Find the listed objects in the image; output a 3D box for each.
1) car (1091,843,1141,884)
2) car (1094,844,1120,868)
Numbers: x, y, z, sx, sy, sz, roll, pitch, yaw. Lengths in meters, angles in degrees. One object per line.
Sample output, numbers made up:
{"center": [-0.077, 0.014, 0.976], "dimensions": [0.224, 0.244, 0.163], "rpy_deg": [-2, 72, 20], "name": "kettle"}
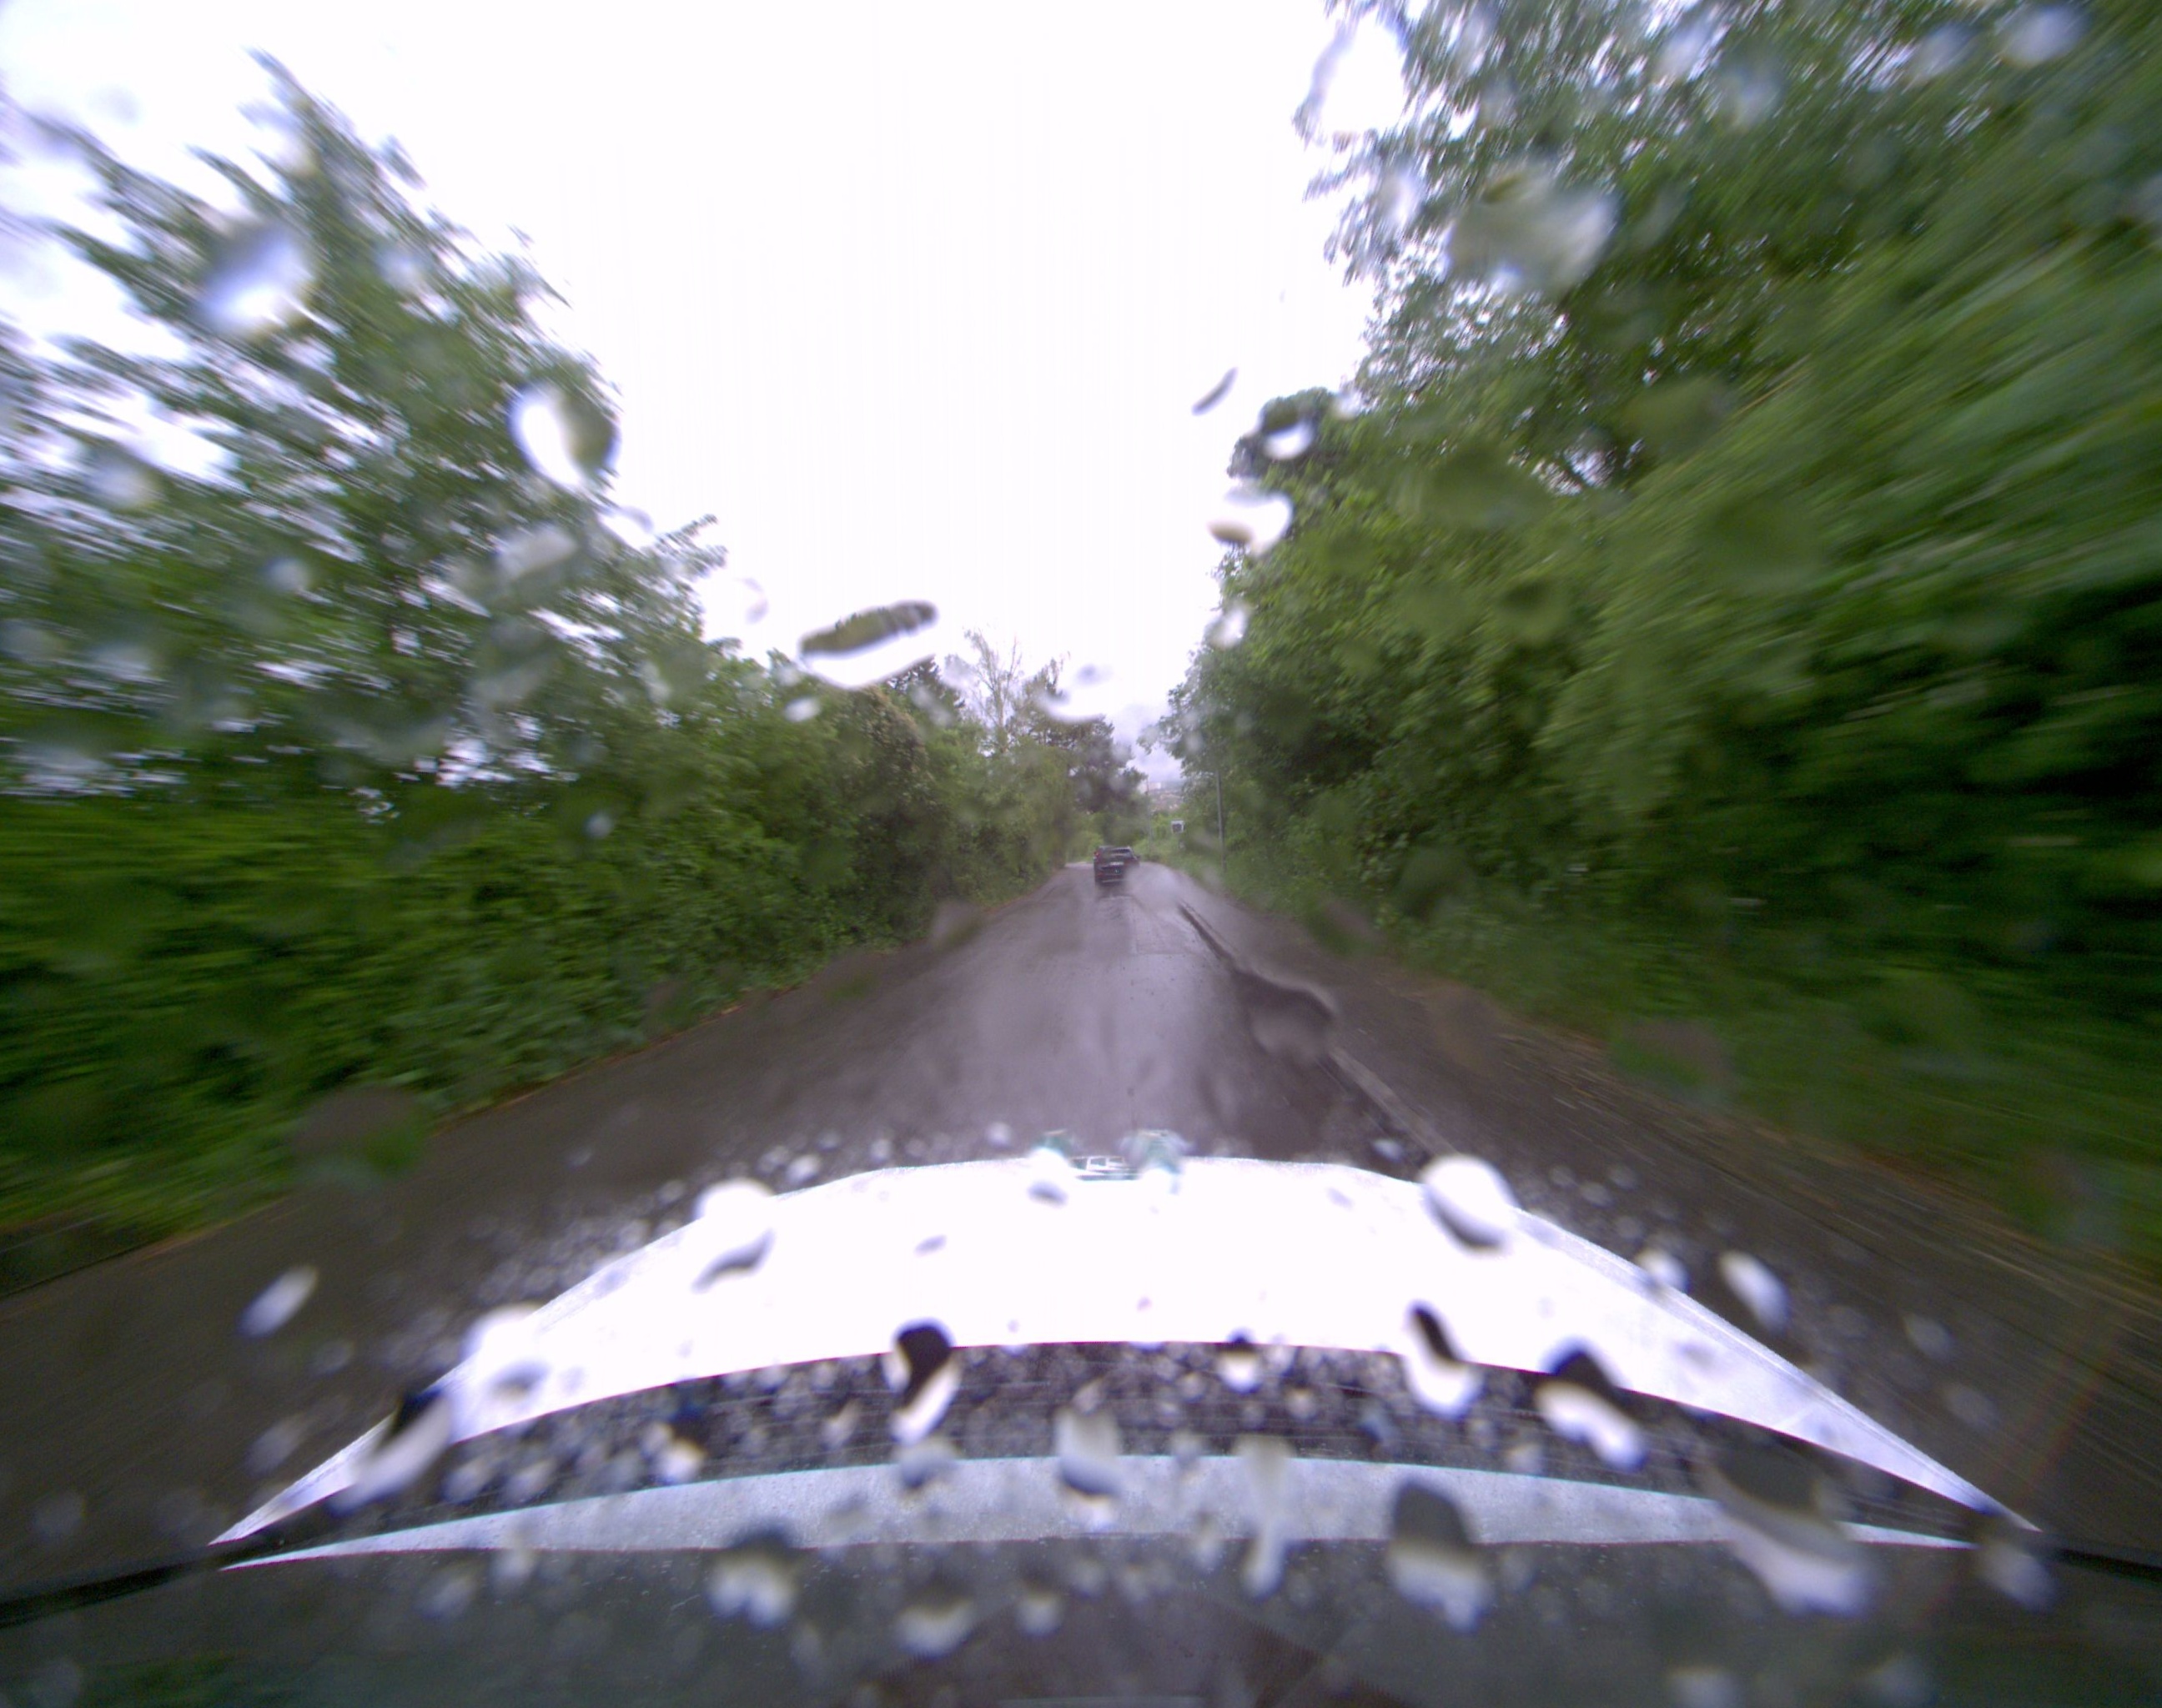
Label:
{"center": [1.367, 0.421, 32.421], "dimensions": [1.828, 1.464, 4.001], "rpy_deg": [-2, -2, 1], "name": "car"}
{"center": [1.793, 0.090, 56.376], "dimensions": [1.672, 1.565, 3.796], "rpy_deg": [-2, 0, 2], "name": "car"}
